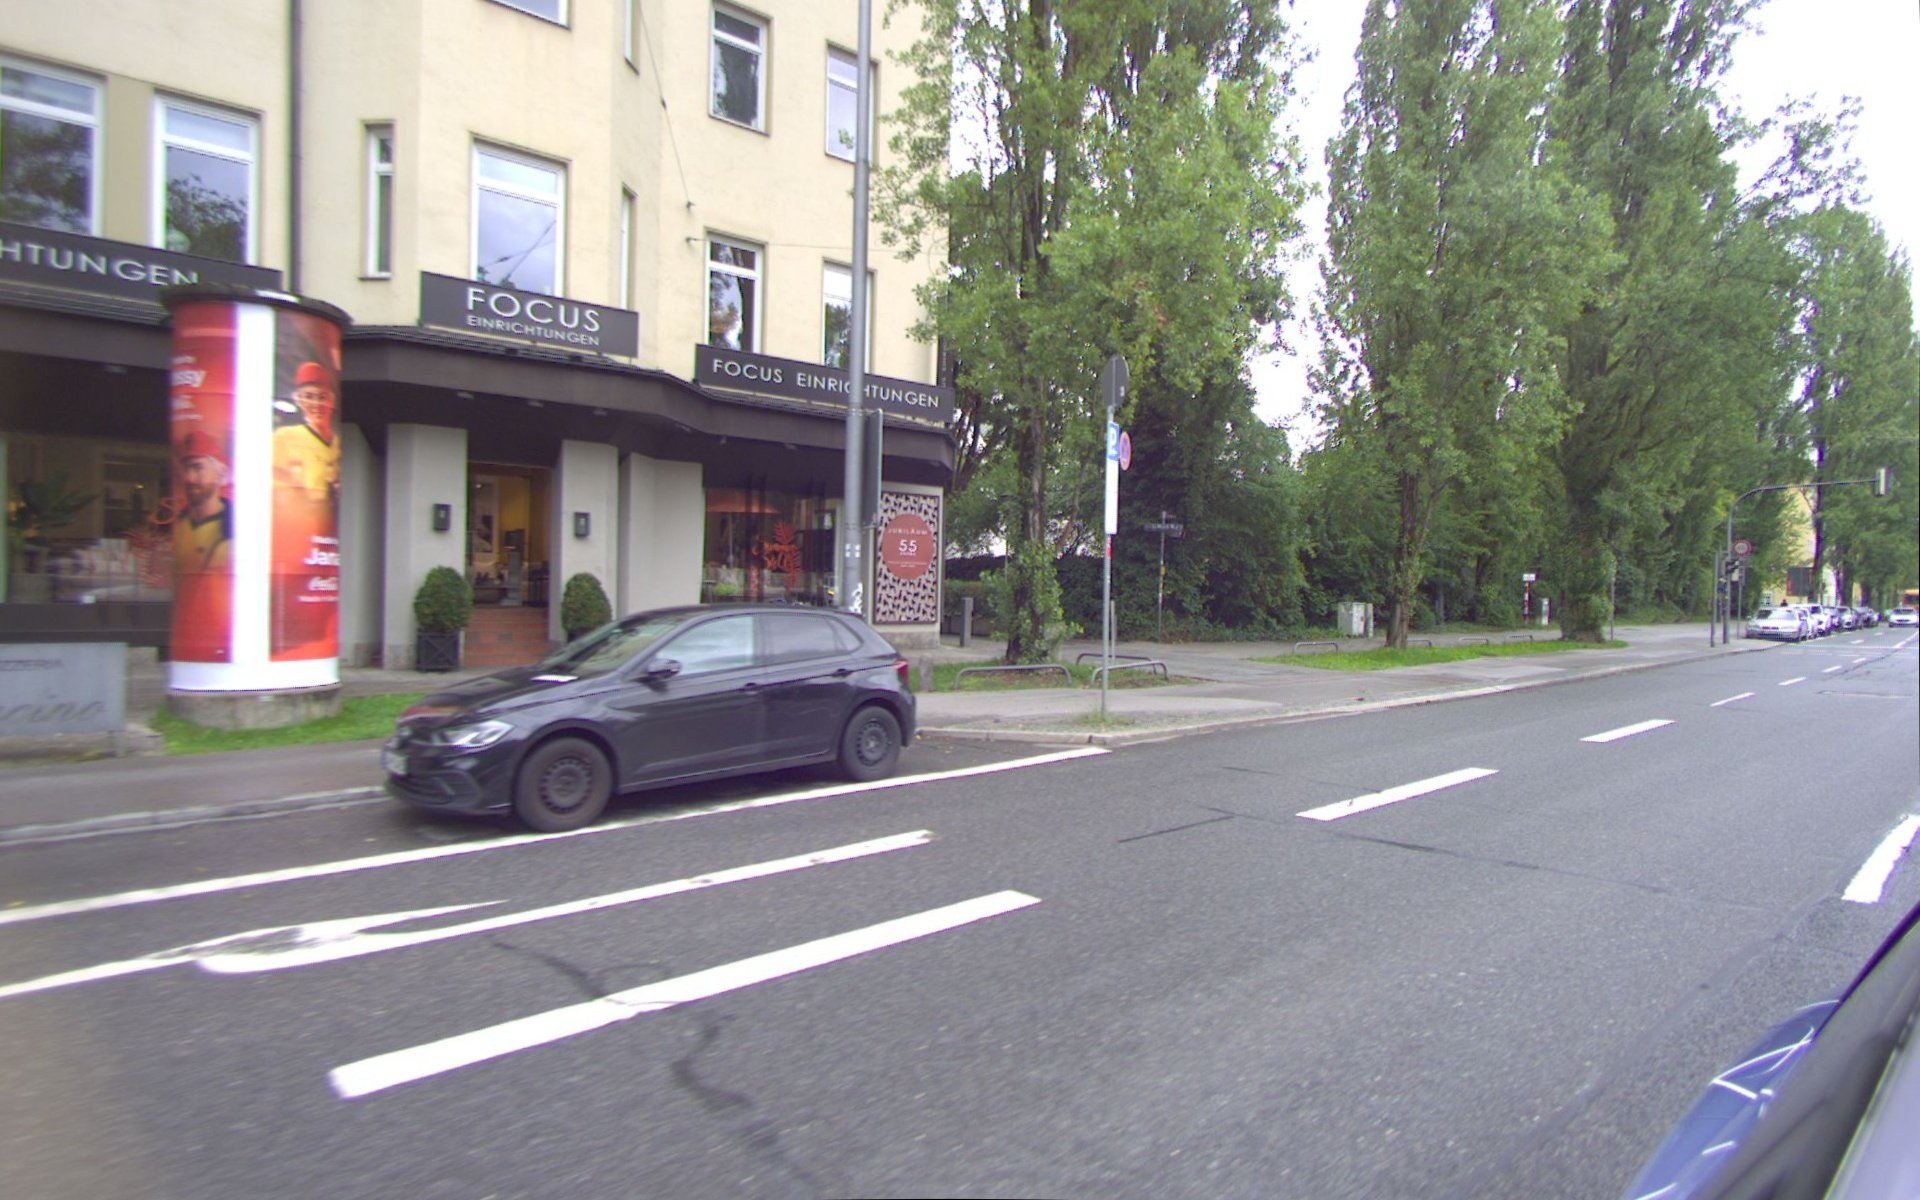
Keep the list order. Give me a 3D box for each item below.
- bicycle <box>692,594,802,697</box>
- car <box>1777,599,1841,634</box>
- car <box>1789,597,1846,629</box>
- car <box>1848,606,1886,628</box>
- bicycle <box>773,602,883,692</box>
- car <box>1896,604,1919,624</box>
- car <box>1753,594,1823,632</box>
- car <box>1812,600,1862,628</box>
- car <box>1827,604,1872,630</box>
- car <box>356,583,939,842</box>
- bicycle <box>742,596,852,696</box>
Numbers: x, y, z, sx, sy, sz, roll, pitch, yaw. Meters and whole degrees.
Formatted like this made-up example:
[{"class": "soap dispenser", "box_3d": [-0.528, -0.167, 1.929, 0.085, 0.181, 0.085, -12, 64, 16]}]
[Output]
[{"class": "bicycle", "box_3d": [-2.754, 0.544, 12.942, 0.488, 1.200, 1.886, 1, 1, -42]}, {"class": "car", "box_3d": [39.482, 0.734, 47.035, 4.187, 1.505, 1.783, 0, 1, -43]}, {"class": "car", "box_3d": [42.707, 0.606, 50.368, 4.071, 1.505, 1.782, 0, 1, -44]}, {"class": "car", "box_3d": [66.798, 1.245, 74.529, 4.071, 1.505, 1.782, 0, 1, -44]}, {"class": "bicycle", "box_3d": [-1.812, 0.593, 13.697, 0.488, 1.095, 1.886, 1, 1, -42]}, {"class": "car", "box_3d": [74.664, 1.081, 79.266, 4.071, 1.505, 1.782, 0, 1, -44]}, {"class": "car", "box_3d": [35.057, 0.531, 42.803, 4.280, 1.505, 1.782, 0, 1, -44]}, {"class": "car", "box_3d": [49.754, 0.785, 57.384, 4.071, 1.505, 1.782, 0, 1, -44]}, {"class": "car", "box_3d": [55.056, 1.052, 62.636, 4.071, 1.505, 1.782, 0, 1, -44]}, {"class": "car", "box_3d": [-2.217, 0.637, 7.822, 3.933, 1.484, 1.801, 0, 0, -43]}, {"class": "bicycle", "box_3d": [-2.176, 0.568, 13.325, 0.488, 1.200, 1.886, 1, 1, -42]}]
